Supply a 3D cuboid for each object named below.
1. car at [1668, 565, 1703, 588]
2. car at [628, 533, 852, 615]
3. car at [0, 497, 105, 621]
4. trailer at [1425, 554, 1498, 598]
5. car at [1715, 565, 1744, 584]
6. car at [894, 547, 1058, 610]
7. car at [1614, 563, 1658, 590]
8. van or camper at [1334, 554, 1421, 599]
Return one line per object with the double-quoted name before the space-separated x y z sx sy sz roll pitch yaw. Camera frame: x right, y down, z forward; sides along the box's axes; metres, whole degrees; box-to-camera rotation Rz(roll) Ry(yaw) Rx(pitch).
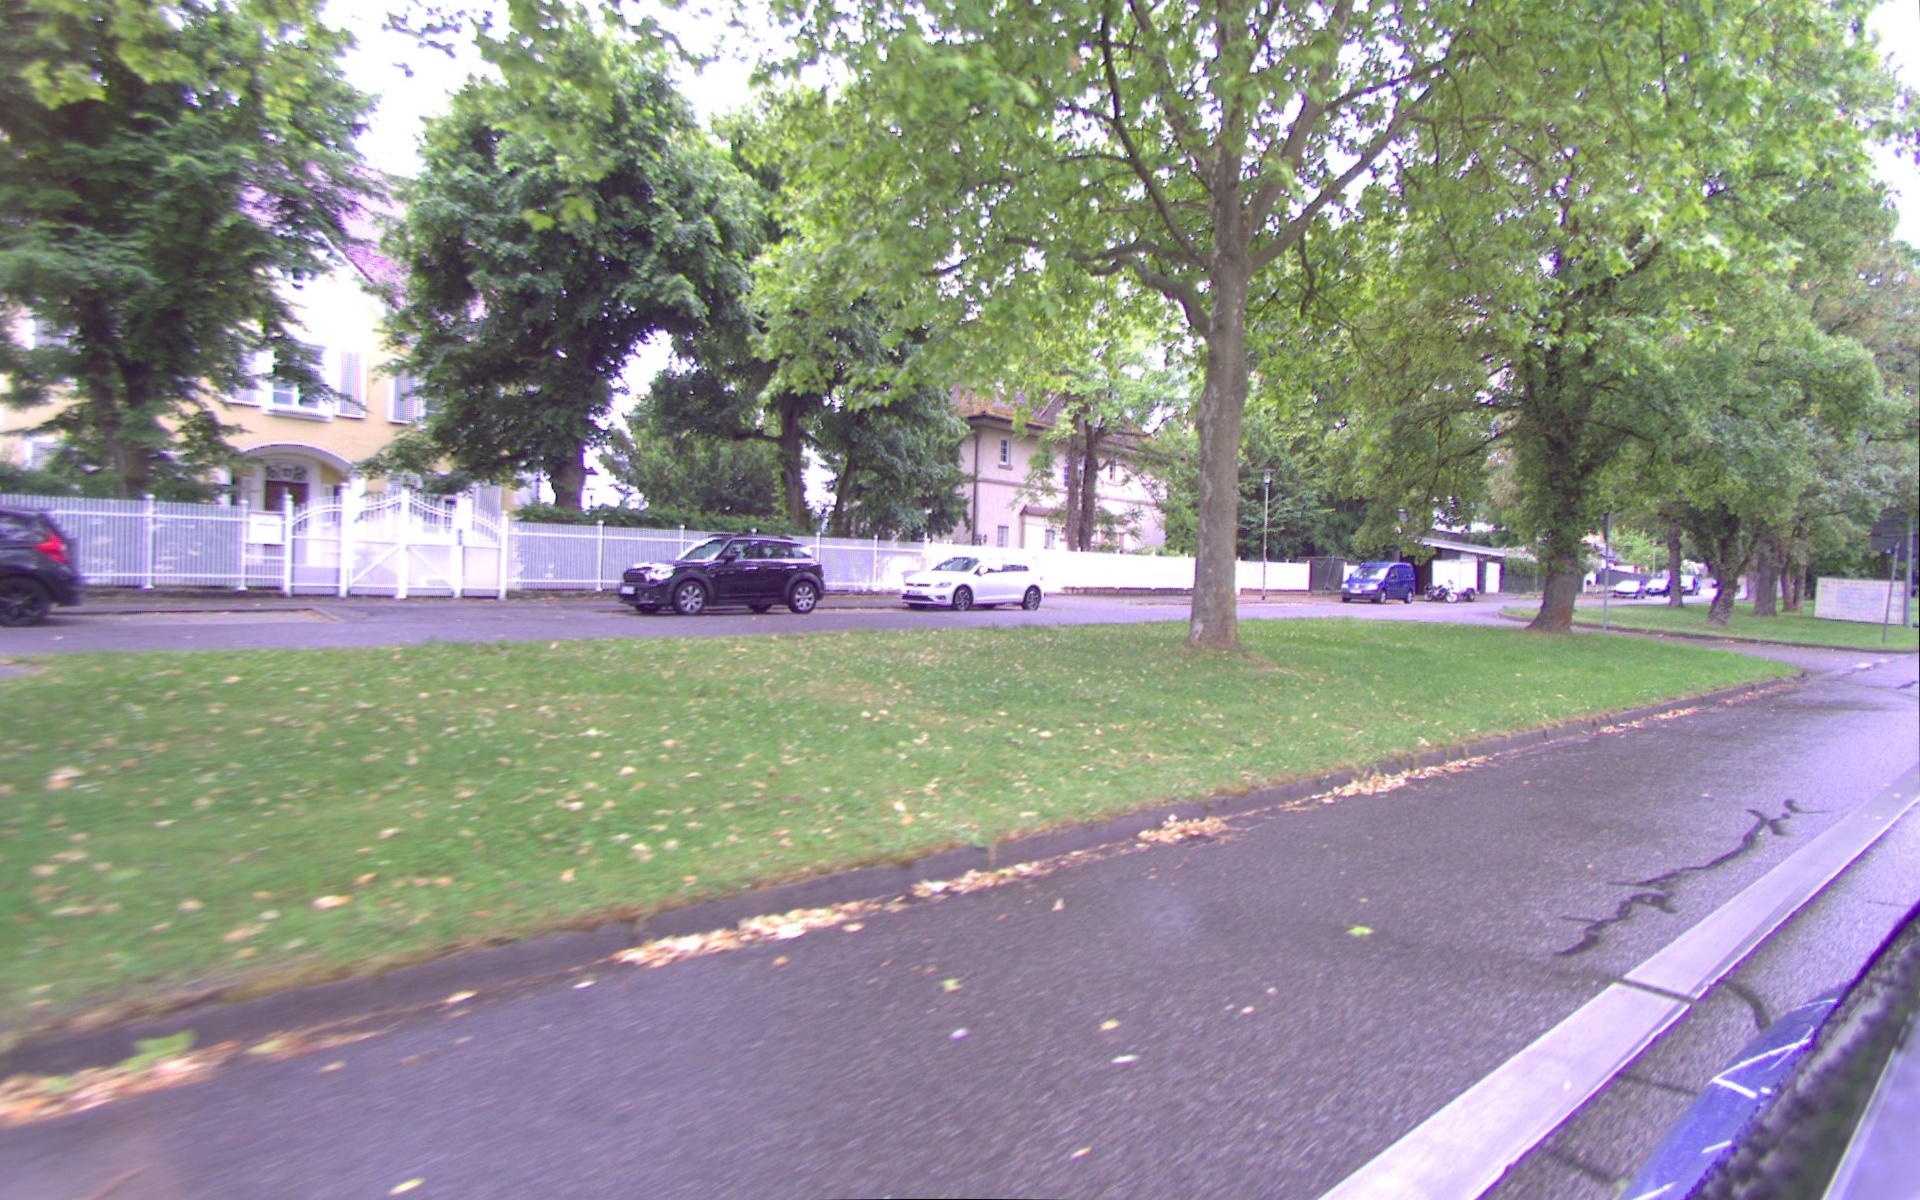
"car" 70.211 -2.235 97.935 3.934 2.038 1.996 1 2 -44
"car" -4.398 -0.505 20.615 1.994 1.489 4.059 0 1 44
"car" -12.992 -0.474 11.955 1.760 1.489 4.288 0 0 44
"trailer" 25.265 -1.195 50.910 5.109 2.143 1.767 -1 1 -45
"car" 87.061 -2.862 114.438 3.934 2.038 1.996 -1 3 -44
"car" 0.479 -0.545 25.966 1.994 1.467 4.059 1 1 44
"car" 53.915 -1.838 80.681 3.932 2.038 1.997 -1 3 -43
"van or camper" 18.218 -1.010 44.017 1.993 1.831 4.702 0 1 43
